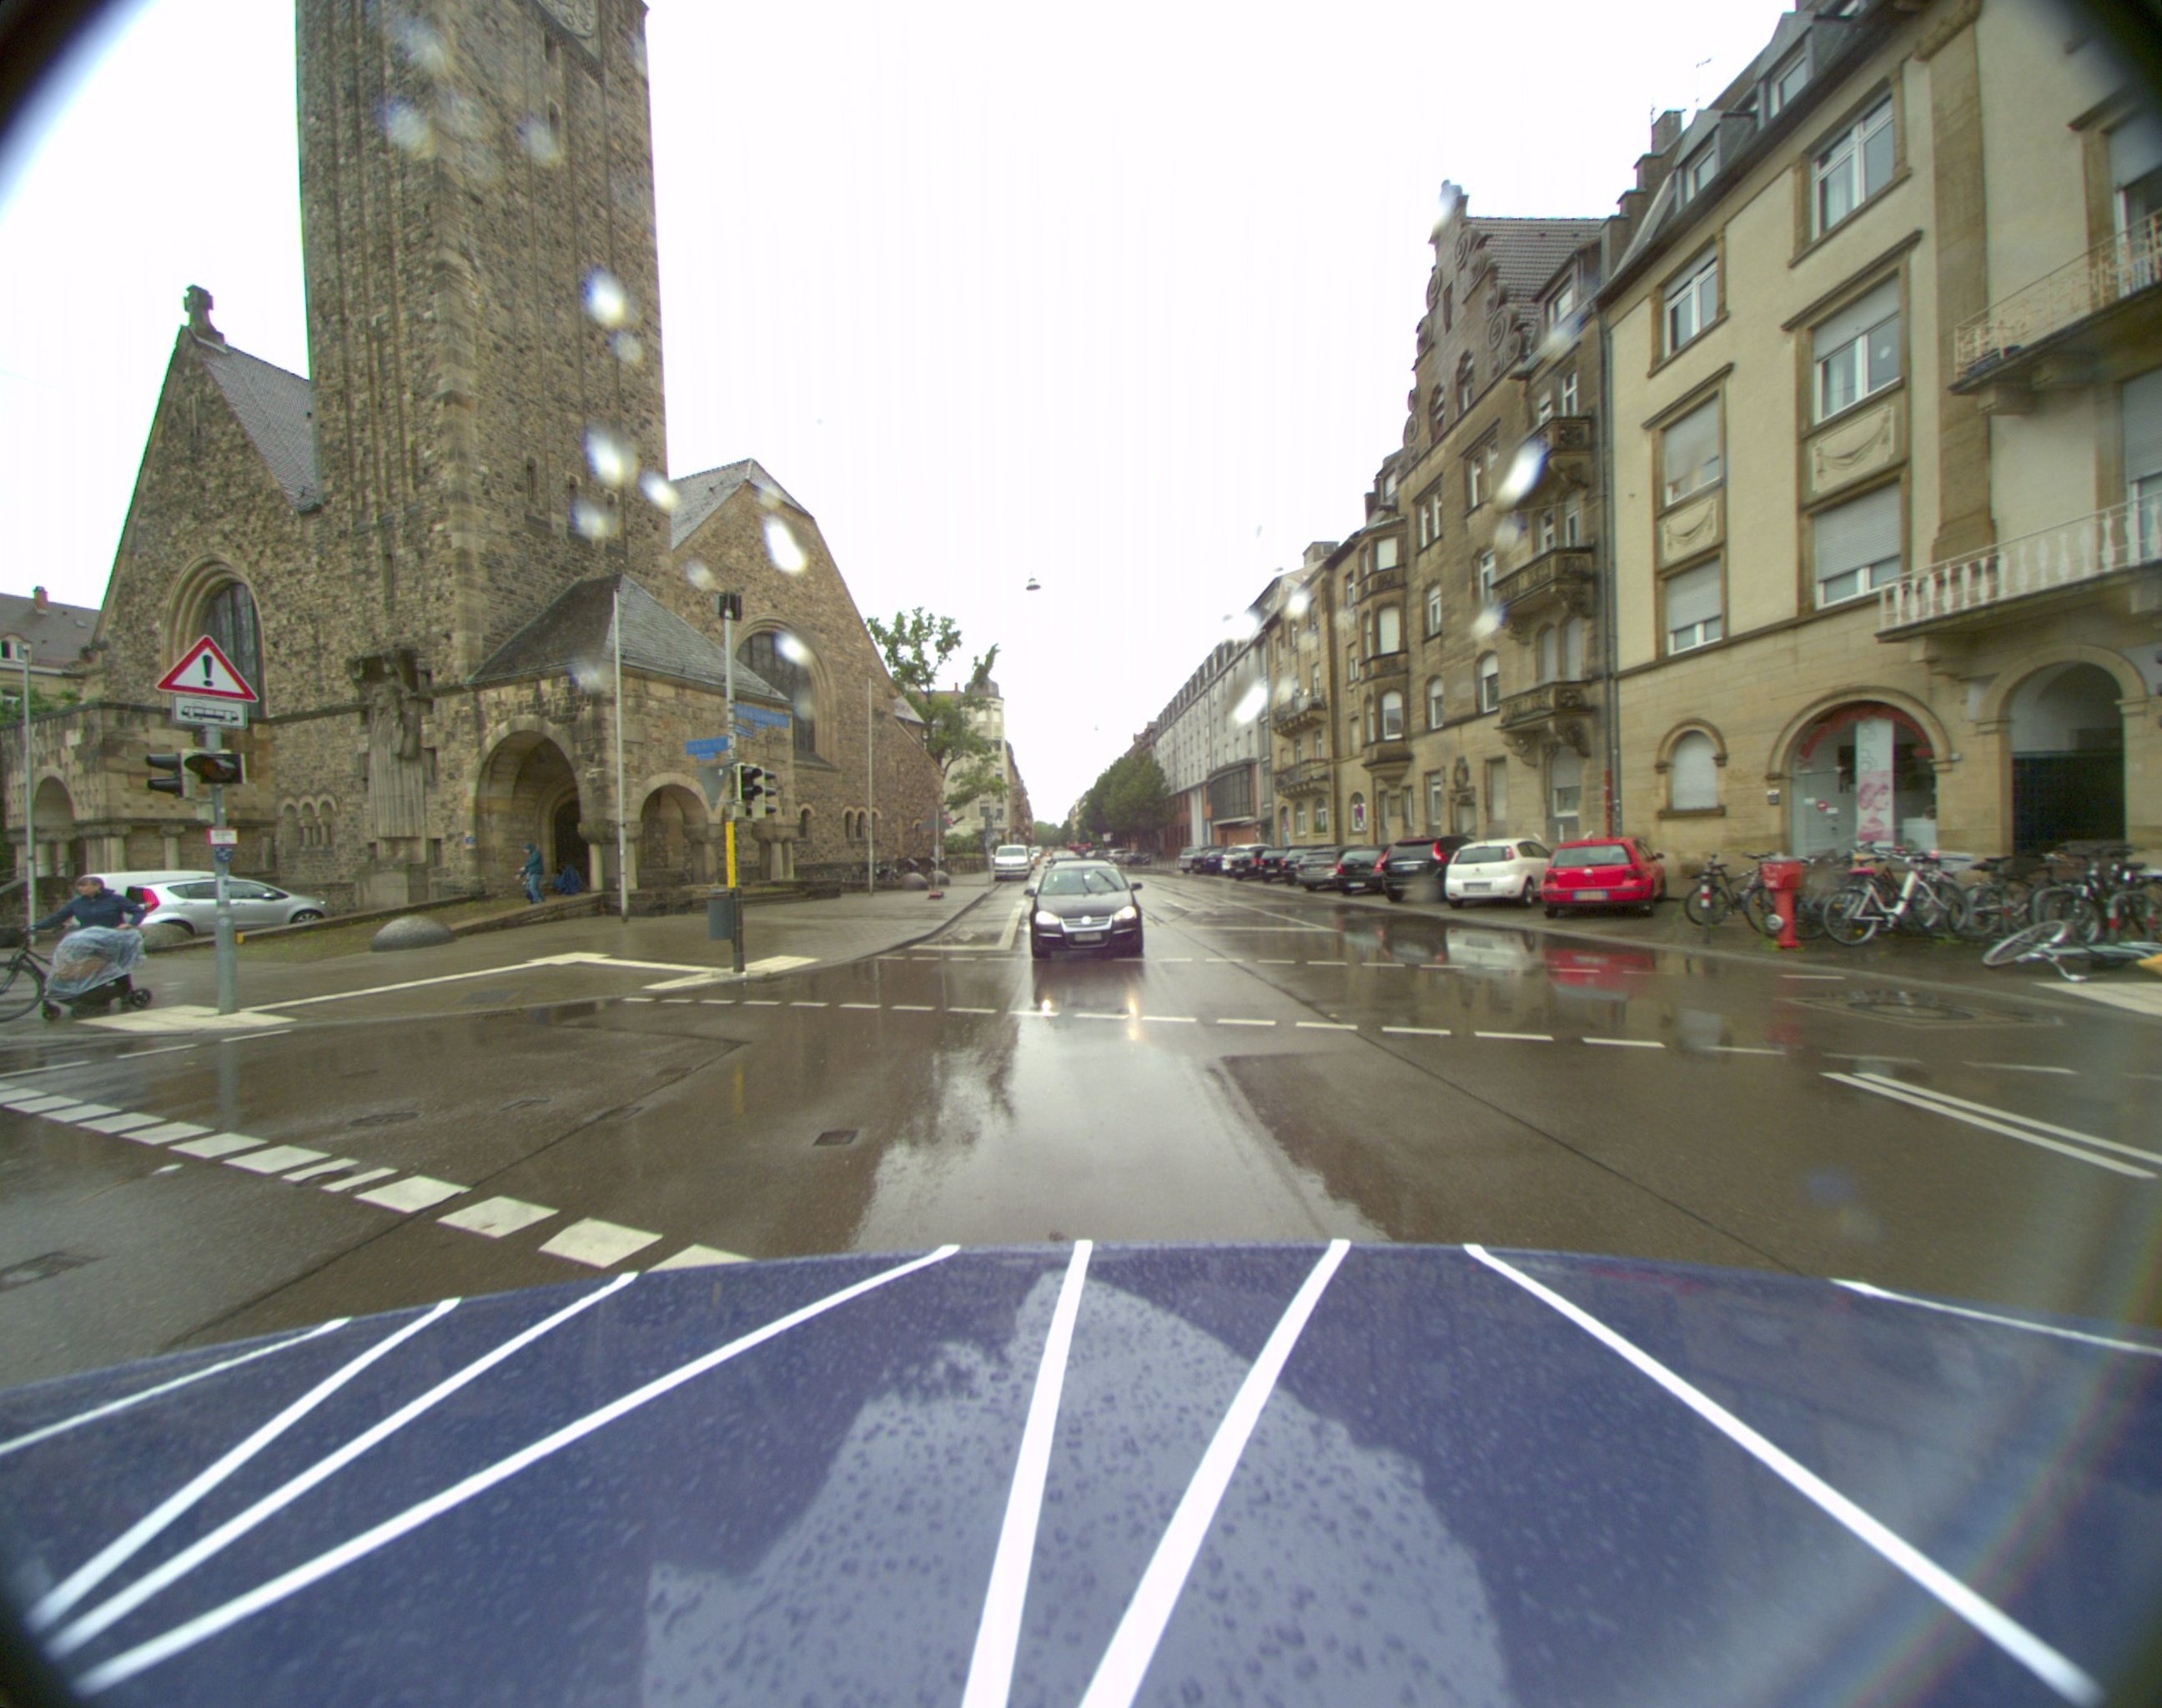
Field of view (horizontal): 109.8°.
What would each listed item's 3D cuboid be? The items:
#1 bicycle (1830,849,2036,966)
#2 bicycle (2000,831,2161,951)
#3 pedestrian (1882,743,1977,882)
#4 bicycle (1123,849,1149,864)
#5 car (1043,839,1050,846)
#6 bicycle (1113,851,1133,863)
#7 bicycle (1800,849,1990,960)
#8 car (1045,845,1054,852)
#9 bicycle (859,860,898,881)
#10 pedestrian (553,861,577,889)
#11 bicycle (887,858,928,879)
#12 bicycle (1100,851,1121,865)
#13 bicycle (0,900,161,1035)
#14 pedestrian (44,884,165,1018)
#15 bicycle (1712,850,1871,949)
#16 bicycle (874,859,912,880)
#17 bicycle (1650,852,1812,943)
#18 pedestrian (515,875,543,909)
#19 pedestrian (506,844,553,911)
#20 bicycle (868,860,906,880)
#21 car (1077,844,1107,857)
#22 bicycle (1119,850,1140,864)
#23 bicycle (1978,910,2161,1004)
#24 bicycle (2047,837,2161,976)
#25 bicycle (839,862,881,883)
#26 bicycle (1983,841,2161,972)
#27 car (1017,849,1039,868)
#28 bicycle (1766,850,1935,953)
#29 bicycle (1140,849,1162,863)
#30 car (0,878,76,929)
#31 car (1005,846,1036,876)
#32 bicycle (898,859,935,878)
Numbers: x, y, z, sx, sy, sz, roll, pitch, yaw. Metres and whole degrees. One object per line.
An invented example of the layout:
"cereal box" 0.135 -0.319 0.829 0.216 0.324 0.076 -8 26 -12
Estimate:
"bicycle" 10.258 0.634 9.175 1.981 1.322 0.438 -2 1 0
"bicycle" 12.304 0.413 9.130 2.063 1.338 0.584 -2 1 -7
"pedestrian" 14.893 -0.703 13.361 0.846 2.326 0.765 -1 1 20
"bicycle" 4.685 0.213 65.181 2.049 1.165 0.773 -4 1 -5
"car" -9.856 -3.248 217.932 1.838 1.827 4.000 -1 1 2
"bicycle" 3.841 0.259 69.873 1.688 1.067 0.544 -2 1 -5
"bicycle" 10.282 0.615 9.614 1.985 1.178 0.474 -5 2 -5
"car" -8.148 -1.411 194.983 1.998 1.705 4.374 -1 1 2
"bicycle" -10.596 0.846 39.697 1.924 1.054 0.582 -1 1 17
"pedestrian" -16.801 0.670 24.752 0.396 0.879 0.457 -1 1 21
"bicycle" -9.500 0.796 41.613 2.151 1.054 0.679 -1 1 20
"bicycle" 2.608 0.326 67.564 1.688 1.067 0.544 -7 2 -5
"bicycle" -13.127 1.394 9.747 0.533 1.458 1.938 -2 1 -12
"pedestrian" -12.752 1.243 9.944 0.604 1.654 0.689 -2 1 1
"bicycle" 10.055 0.626 10.768 1.815 1.178 0.475 -6 2 -4
"bicycle" -10.140 0.839 40.995 1.924 1.054 0.582 -1 1 20
"bicycle" 9.884 0.648 11.599 1.814 1.178 0.600 -6 1 4
"pedestrian" -14.853 1.013 20.443 0.455 0.879 0.397 -1 1 18
"pedestrian" -14.255 0.604 19.637 0.633 1.693 0.679 -1 1 18
"bicycle" -10.282 0.845 40.293 1.924 1.054 0.582 -1 1 20
"car" 1.652 -0.531 115.084 4.006 2.002 1.995 -2 1 -30
"bicycle" 4.240 0.264 66.124 1.688 1.067 0.544 -4 1 -5
"bicycle" 9.821 0.965 7.266 1.044 0.660 1.474 -5 2 -33
"bicycle" 11.478 0.491 7.899 2.347 1.338 0.640 -2 1 -7
"bicycle" -11.216 0.930 38.550 2.005 1.043 0.577 -1 1 15
"bicycle" 11.594 0.551 8.573 2.347 1.338 0.640 -2 1 -7
"car" -4.450 0.356 63.722 1.675 1.541 3.917 -1 1 -2
"bicycle" 10.278 0.619 10.167 1.815 1.178 0.468 -6 2 -4
"bicycle" 6.093 0.155 66.196 1.688 1.067 0.544 -4 1 -5
"car" -37.121 1.741 25.274 1.995 1.609 4.005 -2 1 22
"car" -3.962 0.441 50.233 1.837 1.835 4.294 -1 1 -2
"bicycle" -9.181 0.807 42.518 1.978 1.060 0.607 -1 1 20
